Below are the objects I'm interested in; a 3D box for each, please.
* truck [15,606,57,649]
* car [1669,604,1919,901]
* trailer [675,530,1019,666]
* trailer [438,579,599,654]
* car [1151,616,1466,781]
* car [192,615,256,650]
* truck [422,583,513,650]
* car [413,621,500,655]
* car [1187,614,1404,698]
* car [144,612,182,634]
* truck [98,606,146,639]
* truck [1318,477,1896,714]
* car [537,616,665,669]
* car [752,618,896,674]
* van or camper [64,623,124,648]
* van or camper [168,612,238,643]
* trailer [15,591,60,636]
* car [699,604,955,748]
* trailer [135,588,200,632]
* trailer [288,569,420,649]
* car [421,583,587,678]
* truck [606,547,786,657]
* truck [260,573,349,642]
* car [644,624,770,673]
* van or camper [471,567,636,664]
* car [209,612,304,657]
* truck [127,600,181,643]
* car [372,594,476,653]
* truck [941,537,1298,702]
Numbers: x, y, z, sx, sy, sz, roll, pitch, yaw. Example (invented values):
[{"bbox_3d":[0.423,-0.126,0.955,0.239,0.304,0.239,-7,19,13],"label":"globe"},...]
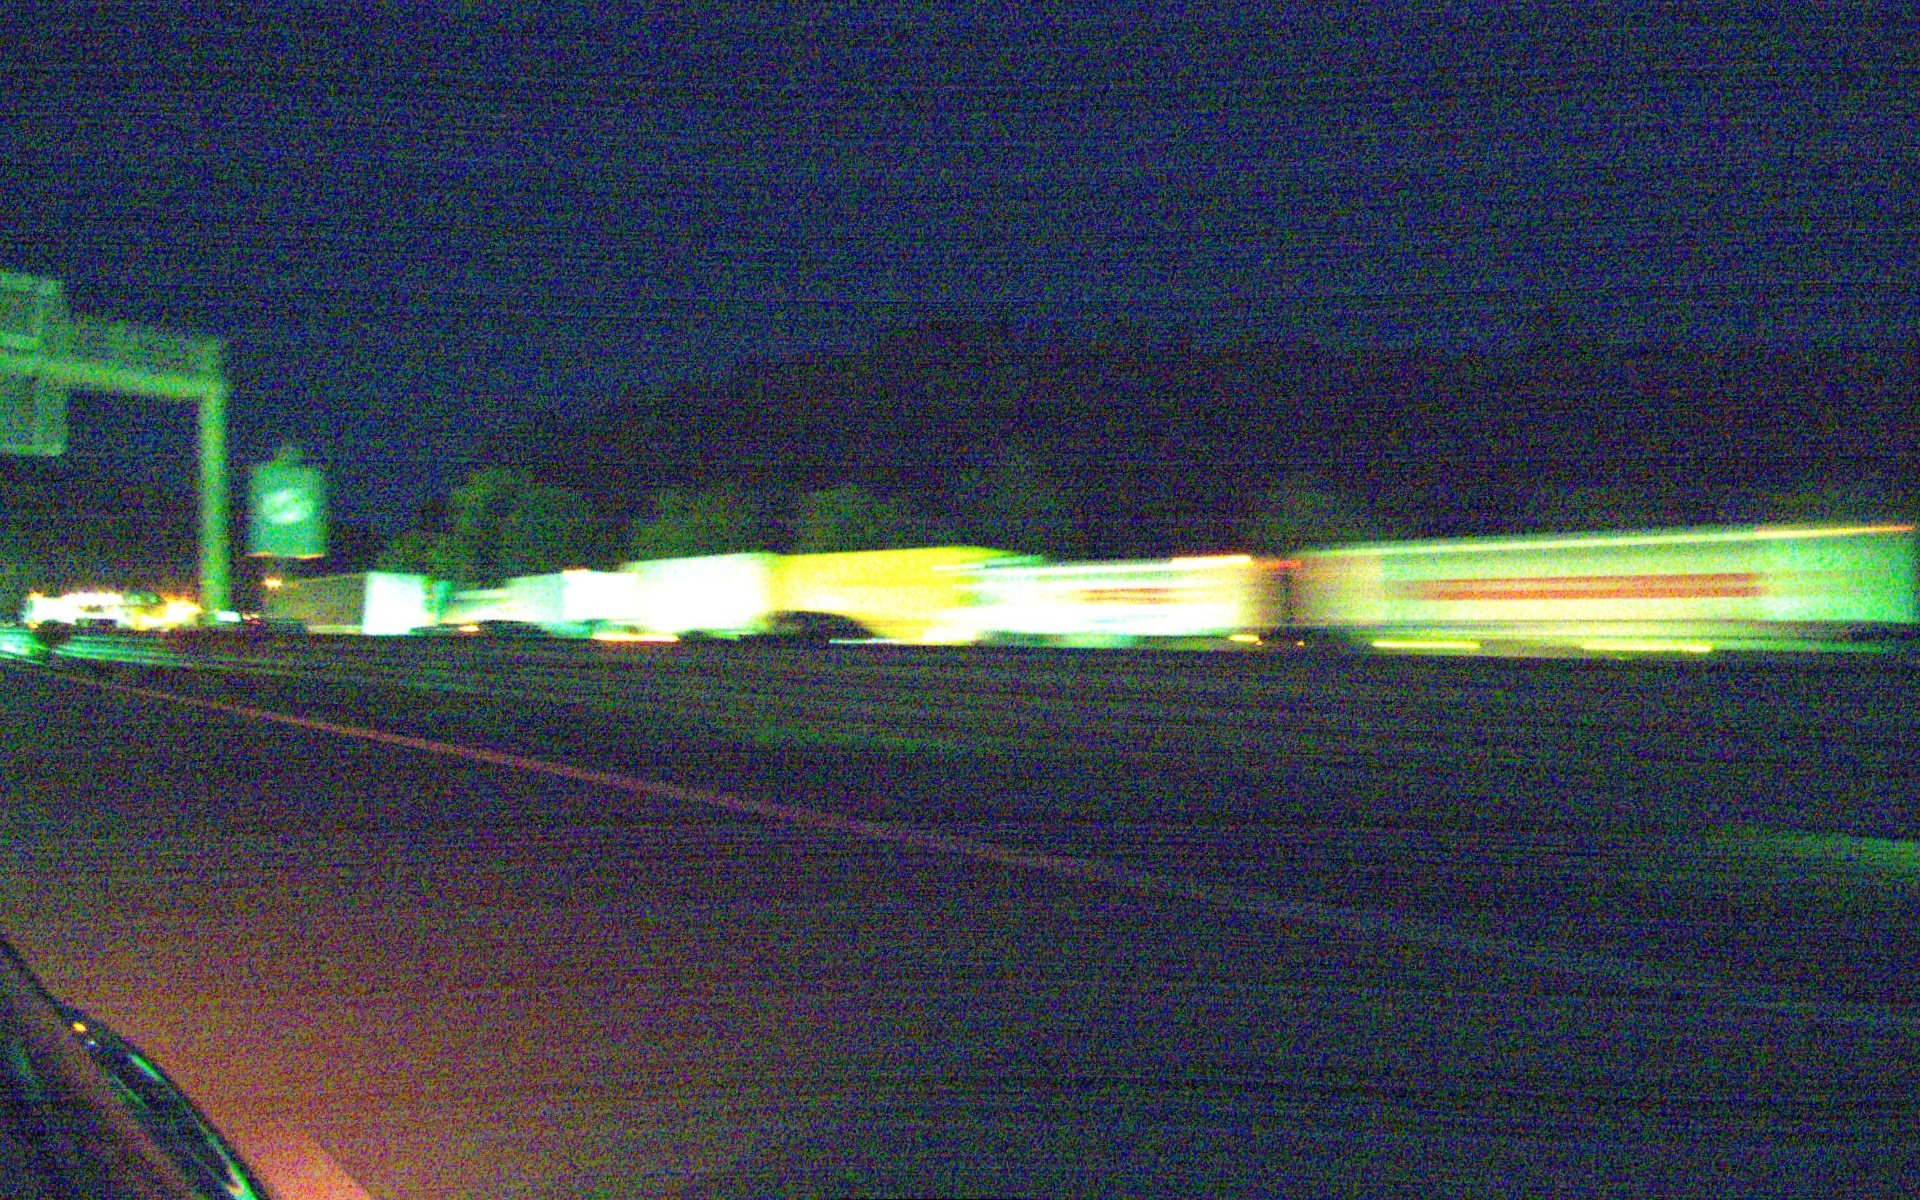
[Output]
[{"bbox_3d":[-95.149,2.757,104.261,3.071,4.128,7.085,-1,1,-42],"label":"truck"},{"bbox_3d":[7.711,1.059,7.415,3.996,2.029,1.974,0,1,39],"label":"car"},{"bbox_3d":[-4.214,0.036,32.895,13.122,3.703,2.853,-1,1,41],"label":"trailer"},{"bbox_3d":[-21.347,0.803,48.445,11.171,3.235,2.369,-1,-1,40],"label":"trailer"},{"bbox_3d":[5.096,1.297,15.023,3.996,2.029,1.974,0,1,39],"label":"car"},{"bbox_3d":[-30.663,1.351,42.111,1.552,1.364,4.002,2,-2,-45],"label":"car"},{"bbox_3d":[-25.204,0.851,51.719,4.903,3.235,2.369,-1,-1,40],"label":"truck"},{"bbox_3d":[-21.296,1.593,42.716,4.637,1.364,1.554,-1,-2,40],"label":"car"},{"bbox_3d":[7.619,1.195,23.169,4.309,1.658,1.974,0,1,39],"label":"car"},{"bbox_3d":[-51.108,1.483,64.882,1.552,1.364,4.003,2,-2,-44],"label":"car"},{"bbox_3d":[-77.827,2.138,93.914,8.174,2.982,2.528,-2,-3,44],"label":"truck"},{"bbox_3d":[9.939,-0.020,16.305,7.398,3.008,2.734,0,-1,41],"label":"truck"},{"bbox_3d":[-9.920,1.136,27.820,3.998,1.364,1.554,-1,-2,41],"label":"car"},{"bbox_3d":[-3.646,1.184,26.773,3.998,1.364,1.554,-1,-2,41],"label":"car"},{"bbox_3d":[-48.176,1.955,56.250,5.350,1.364,1.801,-1,-2,42],"label":"van or camper"},{"bbox_3d":[-52.379,1.891,69.957,7.634,2.029,2.165,-1,-2,40],"label":"van or camper"},{"bbox_3d":[-89.960,1.208,98.814,3.053,4.119,12.465,-1,1,-42],"label":"trailer"},{"bbox_3d":[-2.239,1.104,16.580,3.996,2.029,1.974,0,1,39],"label":"car"},{"bbox_3d":[-59.972,0.725,76.459,9.005,3.200,2.577,0,0,44],"label":"trailer"},{"bbox_3d":[-30.544,0.482,50.681,11.175,3.655,2.369,-1,-1,41],"label":"trailer"},{"bbox_3d":[-10.719,0.654,23.709,3.996,2.029,1.974,0,1,39],"label":"car"},{"bbox_3d":[-9.948,0.164,37.690,7.259,3.703,2.853,-1,-2,41],"label":"truck"},{"bbox_3d":[-35.833,0.491,55.223,6.721,3.540,2.378,-2,-2,42],"label":"truck"},{"bbox_3d":[-7.635,1.422,30.390,3.998,1.364,1.697,-1,-2,41],"label":"car"},{"bbox_3d":[-15.197,0.606,37.575,7.385,3.297,2.408,-1,-2,39],"label":"van or camper"},{"bbox_3d":[-22.488,1.087,32.312,3.998,1.364,1.554,-1,-2,41],"label":"car"},{"bbox_3d":[-63.779,1.663,80.051,5.797,3.243,2.614,0,1,44],"label":"truck"},{"bbox_3d":[-19.628,0.811,37.035,3.996,2.029,1.974,0,1,39],"label":"car"},{"bbox_3d":[3.200,0.392,21.925,7.448,3.008,2.530,0,-1,41],"label":"truck"}]
